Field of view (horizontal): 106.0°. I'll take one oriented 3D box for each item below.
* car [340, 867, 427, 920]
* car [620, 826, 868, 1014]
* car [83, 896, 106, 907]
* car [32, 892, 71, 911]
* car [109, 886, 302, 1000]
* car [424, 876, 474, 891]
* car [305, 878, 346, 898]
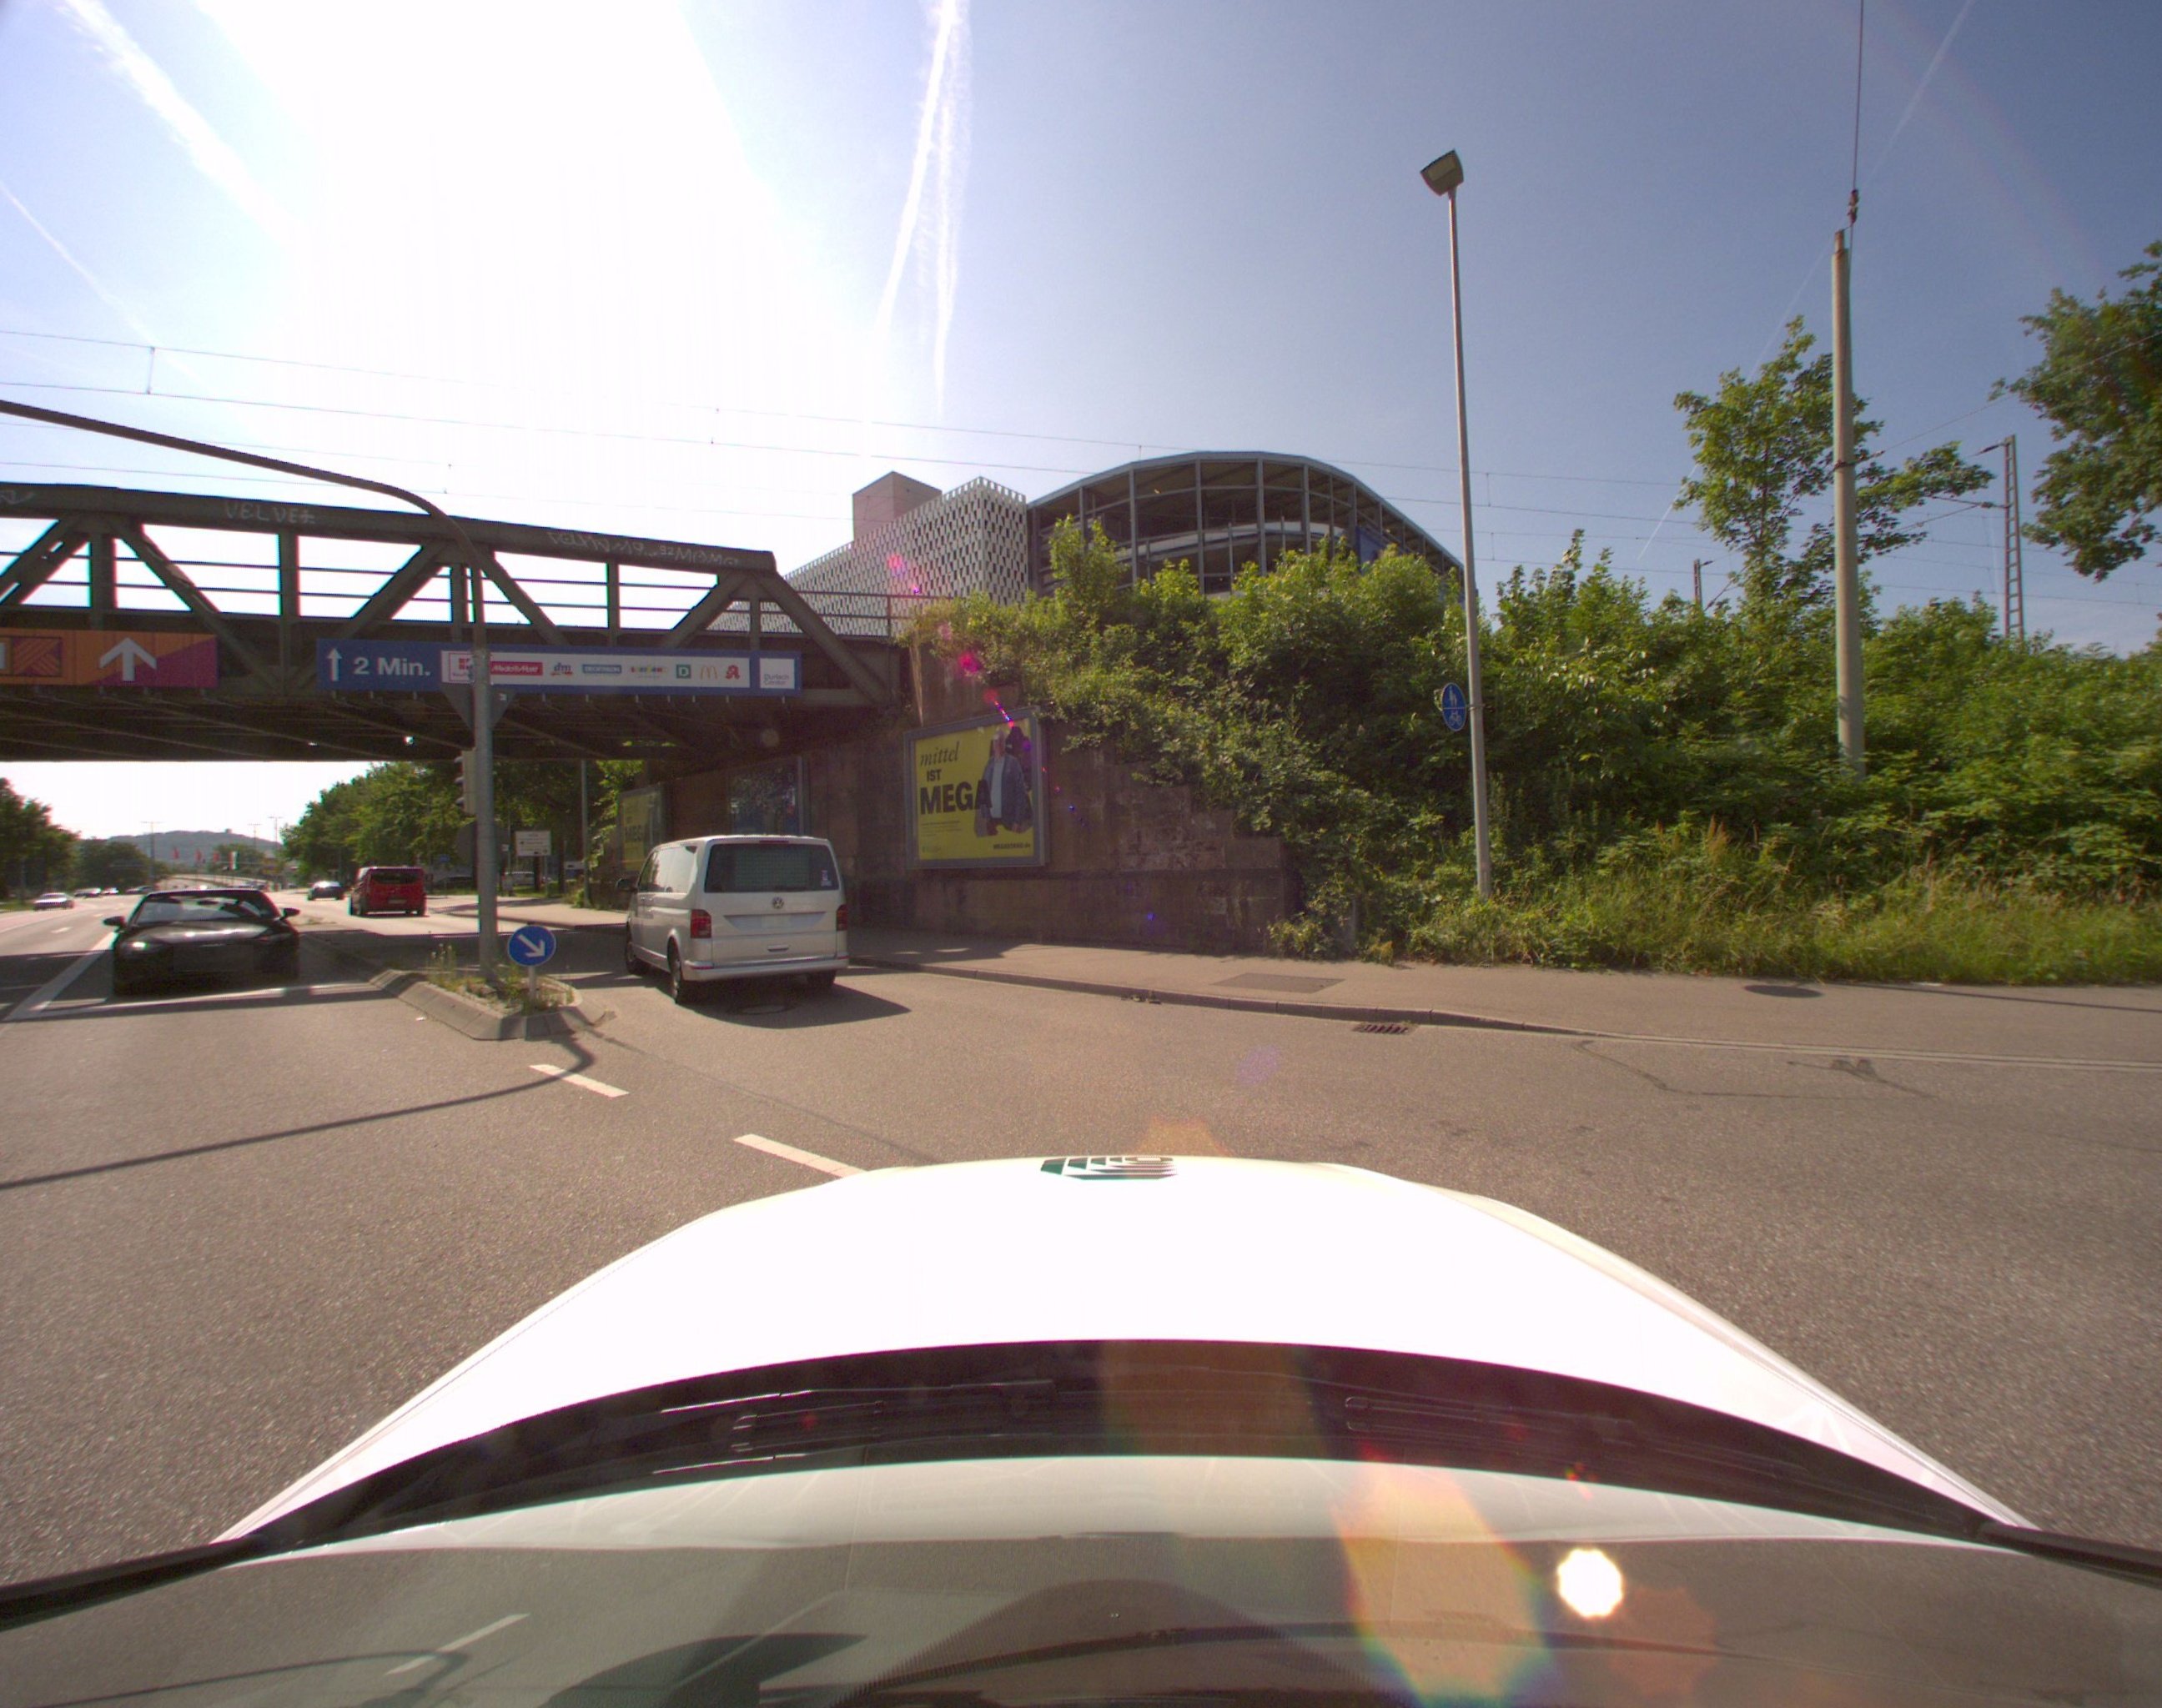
[{"bbox_3d":[-28.241,1.557,32.933,4.502,1.925,1.987,-2,-1,41],"label":"car"},{"bbox_3d":[-4.818,0.732,11.121,1.957,1.971,4.965,0,-1,-37],"label":"car"},{"bbox_3d":[-143.928,6.957,118.802,4.029,1.492,1.987,-2,0,39],"label":"car"},{"bbox_3d":[-86.196,3.951,68.215,4.029,1.492,1.987,-2,0,39],"label":"car"},{"bbox_3d":[-13.545,1.233,12.555,4.279,1.395,1.782,-2,-1,41],"label":"car"},{"bbox_3d":[-64.901,2.999,83.628,1.680,1.416,3.835,-2,0,43],"label":"car"},{"bbox_3d":[-58.306,2.609,62.803,4.269,1.397,1.804,-2,0,41],"label":"car"}]
